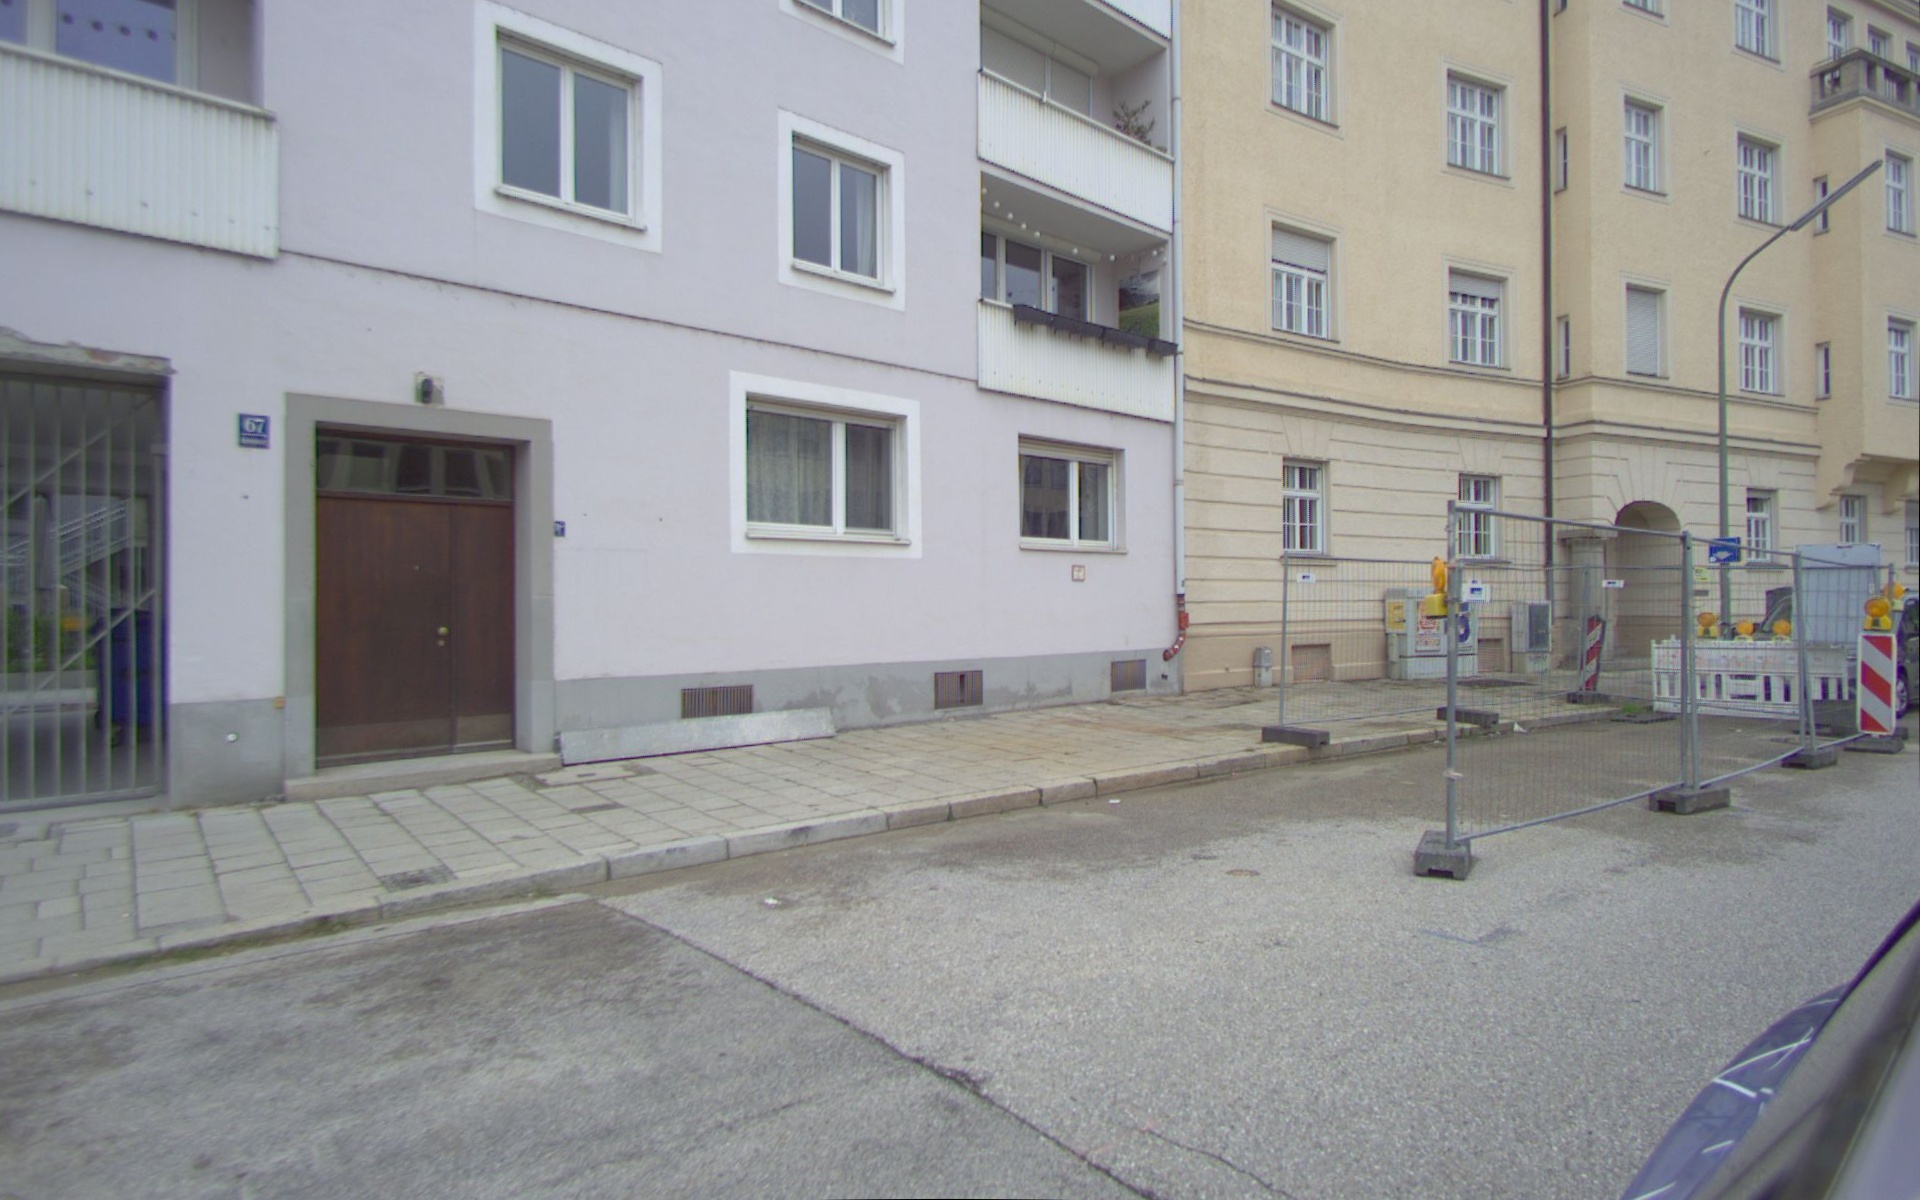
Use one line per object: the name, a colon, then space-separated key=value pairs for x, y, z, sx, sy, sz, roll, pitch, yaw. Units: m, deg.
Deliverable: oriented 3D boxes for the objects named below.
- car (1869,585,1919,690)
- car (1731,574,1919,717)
car: x=17.900 y=0.600 z=17.508 sx=3.653 sy=1.752 sz=1.845 roll=-1 pitch=-2 yaw=-24
car: x=13.231 y=0.600 z=14.874 sx=4.158 sy=1.822 sz=1.841 roll=0 pitch=-2 yaw=-36
